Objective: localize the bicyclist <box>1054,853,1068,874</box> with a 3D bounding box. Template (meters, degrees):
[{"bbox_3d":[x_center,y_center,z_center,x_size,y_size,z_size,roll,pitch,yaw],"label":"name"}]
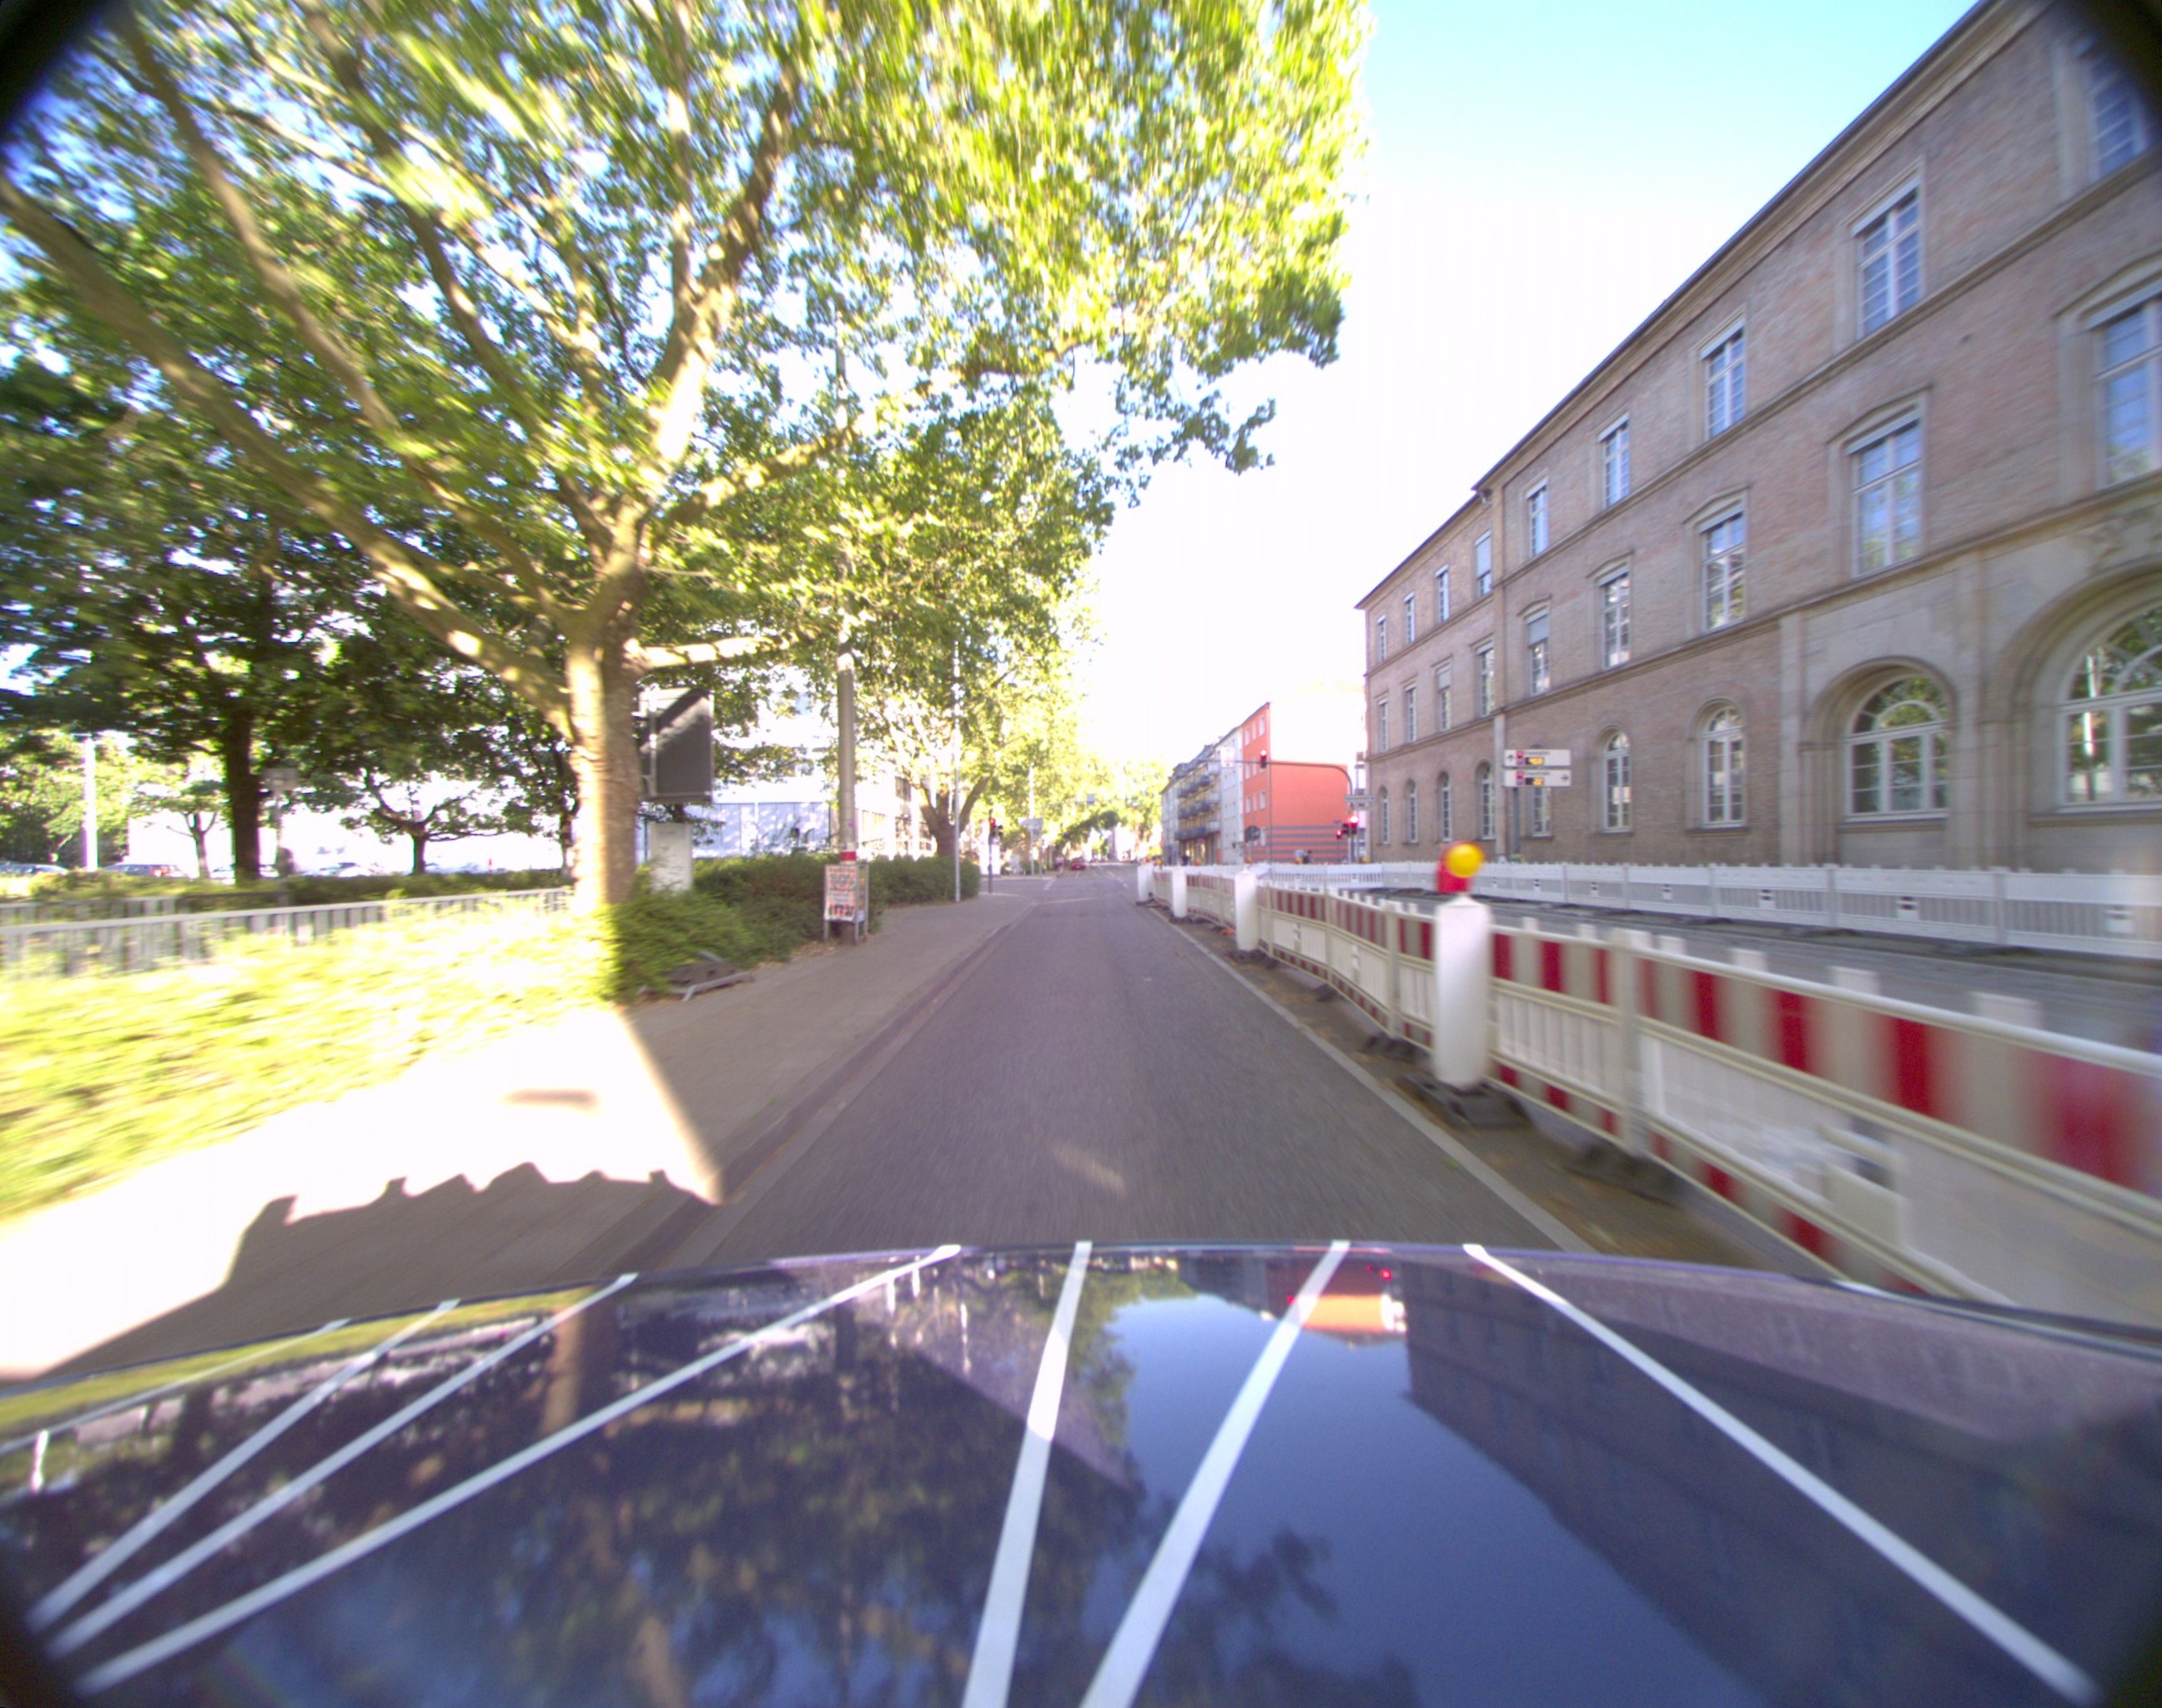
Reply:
[{"bbox_3d":[-1.583,0.716,59.781,0.949,1.630,1.008,-2,0,8],"label":"bicyclist"}]

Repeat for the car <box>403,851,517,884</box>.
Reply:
[{"bbox_3d":[-35.659,0.771,43.735,4.717,1.818,2.109,0,0,-2],"label":"car"}]

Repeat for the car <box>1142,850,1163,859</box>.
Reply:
[{"bbox_3d":[13.779,0.084,146.462,3.996,1.689,1.834,-1,0,2],"label":"car"}]

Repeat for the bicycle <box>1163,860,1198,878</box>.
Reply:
[{"bbox_3d":[6.005,0.906,45.905,1.989,0.993,0.791,0,-2,13],"label":"bicycle"}]

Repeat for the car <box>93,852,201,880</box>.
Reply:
[{"bbox_3d":[-51.783,0.643,42.185,3.848,1.476,1.630,0,0,-2],"label":"car"}]

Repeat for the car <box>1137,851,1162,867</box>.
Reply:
[{"bbox_3d":[7.839,0.550,87.255,1.999,1.806,5.122,0,1,-5],"label":"car"}]

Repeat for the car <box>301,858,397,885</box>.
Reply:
[{"bbox_3d":[-41.605,0.991,43.244,3.848,1.476,1.630,0,0,-2],"label":"car"}]

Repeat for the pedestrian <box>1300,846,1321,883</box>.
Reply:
[{"bbox_3d":[11.217,0.512,37.213,0.883,1.761,0.748,-1,0,10],"label":"pedestrian"}]

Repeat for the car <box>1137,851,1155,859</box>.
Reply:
[{"bbox_3d":[14.837,0.289,172.831,3.996,1.689,1.834,-1,0,2],"label":"car"}]

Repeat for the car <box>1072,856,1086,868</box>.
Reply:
[{"bbox_3d":[-0.265,1.066,100.848,1.786,1.520,4.657,-1,0,-1],"label":"car"}]

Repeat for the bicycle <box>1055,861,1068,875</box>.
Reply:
[{"bbox_3d":[-1.511,1.083,59.898,0.703,1.060,1.930,-1,-1,8],"label":"bicycle"}]

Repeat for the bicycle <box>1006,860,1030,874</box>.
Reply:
[{"bbox_3d":[-4.792,0.971,57.695,1.638,0.993,0.621,1,2,-25],"label":"bicycle"}]

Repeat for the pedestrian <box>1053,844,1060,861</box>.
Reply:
[{"bbox_3d":[-2.632,-0.193,81.724,0.671,1.786,0.665,-4,2,-5],"label":"pedestrian"}]

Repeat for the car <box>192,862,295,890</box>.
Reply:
[{"bbox_3d":[-46.860,1.219,42.570,3.848,1.476,1.630,0,0,-2],"label":"car"}]

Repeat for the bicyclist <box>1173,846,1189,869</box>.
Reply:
[{"bbox_3d":[6.055,0.226,45.911,0.837,1.364,0.793,1,-1,13],"label":"bicyclist"}]
